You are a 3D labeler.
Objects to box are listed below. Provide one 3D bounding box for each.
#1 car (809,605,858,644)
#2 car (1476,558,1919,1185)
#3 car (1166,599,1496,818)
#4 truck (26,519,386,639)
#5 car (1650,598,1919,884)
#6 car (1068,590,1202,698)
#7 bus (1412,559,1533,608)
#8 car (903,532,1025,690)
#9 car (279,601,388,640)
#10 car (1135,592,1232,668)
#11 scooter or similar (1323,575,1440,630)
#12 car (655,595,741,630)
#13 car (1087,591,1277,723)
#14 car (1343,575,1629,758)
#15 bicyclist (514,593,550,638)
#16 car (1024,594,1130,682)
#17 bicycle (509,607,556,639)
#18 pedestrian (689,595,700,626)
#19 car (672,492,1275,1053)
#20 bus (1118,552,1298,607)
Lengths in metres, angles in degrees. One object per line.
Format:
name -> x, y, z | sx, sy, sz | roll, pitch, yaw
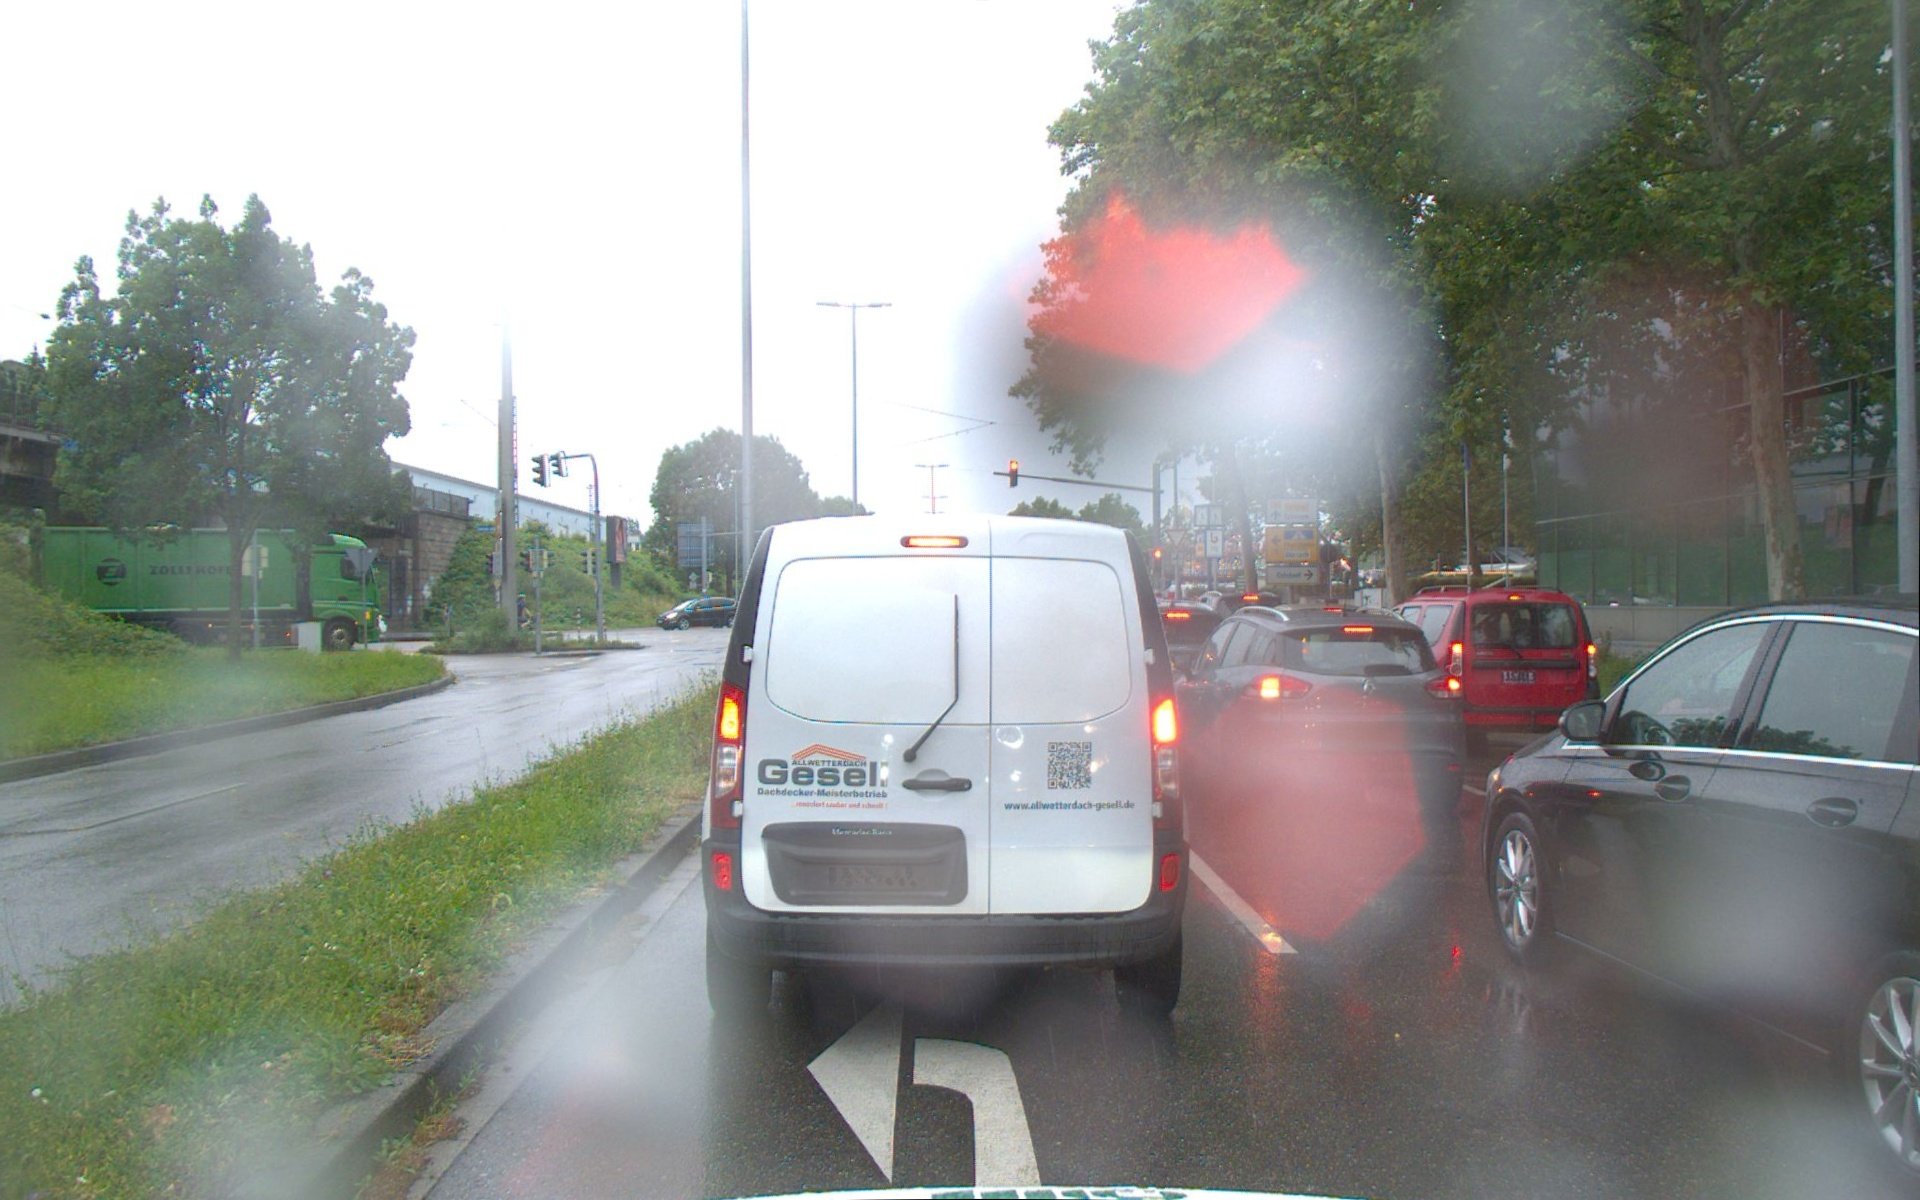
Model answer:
car -> -5.203, 0.990, 68.374 | 1.779, 1.488, 3.999 | -3, 0, -2
car -> 3.247, 0.686, 5.452 | 1.712, 1.582, 4.089 | 0, 0, -2
car -> 2.754, 0.738, 13.113 | 1.649, 1.433, 3.842 | 1, 0, -2
truck -> -23.165, -0.626, 51.337 | 9.956, 3.430, 2.316 | 0, 0, -37
car -> 5.764, 0.746, 10.177 | 1.537, 1.488, 3.388 | 0, 0, -2
car -> 2.875, 0.677, 27.898 | 1.816, 1.678, 3.842 | 0, 0, -1
bus -> 38.891, -1.306, 125.180 | 11.888, 3.483, 2.449 | -2, 1, -38
car -> 0.031, 0.145, 26.460 | 1.816, 2.336, 3.842 | 0, 0, -1
car -> -28.092, 0.911, 74.212 | 4.201, 1.624, 1.975 | -1, 0, -36
car -> 5.173, 0.677, 38.706 | 1.674, 1.678, 3.842 | 1, 0, -1
scooter or similar -> 19.673, 0.097, 77.364 | 1.878, 2.489, 5.239 | 0, 0, -41
car -> -13.402, 0.626, 84.733 | 3.956, 1.747, 1.974 | 0, 0, -37
car -> 2.663, 0.637, 20.667 | 1.816, 1.486, 3.842 | 0, 0, -1
car -> 5.529, 0.655, 17.949 | 1.676, 1.724, 4.271 | 1, -1, -1
bicyclist -> -14.308, 0.507, 55.306 | 1.028, 1.475, 0.723 | -1, 1, -26
car -> 2.310, 0.728, 33.552 | 1.816, 1.678, 3.842 | 0, 0, -1
bicycle -> -14.328, 0.755, 55.358 | 1.027, 0.968, 2.866 | -1, 1, -25
pedestrian -> -15.411, 0.616, 95.971 | 0.532, 1.746, 0.563 | 1, -1, -5
car -> 0.014, 0.538, 7.647 | 1.953, 1.807, 4.584 | 0, 0, -1
bus -> 16.600, -1.399, 111.156 | 11.727, 3.483, 2.315 | -1, 1, -1
